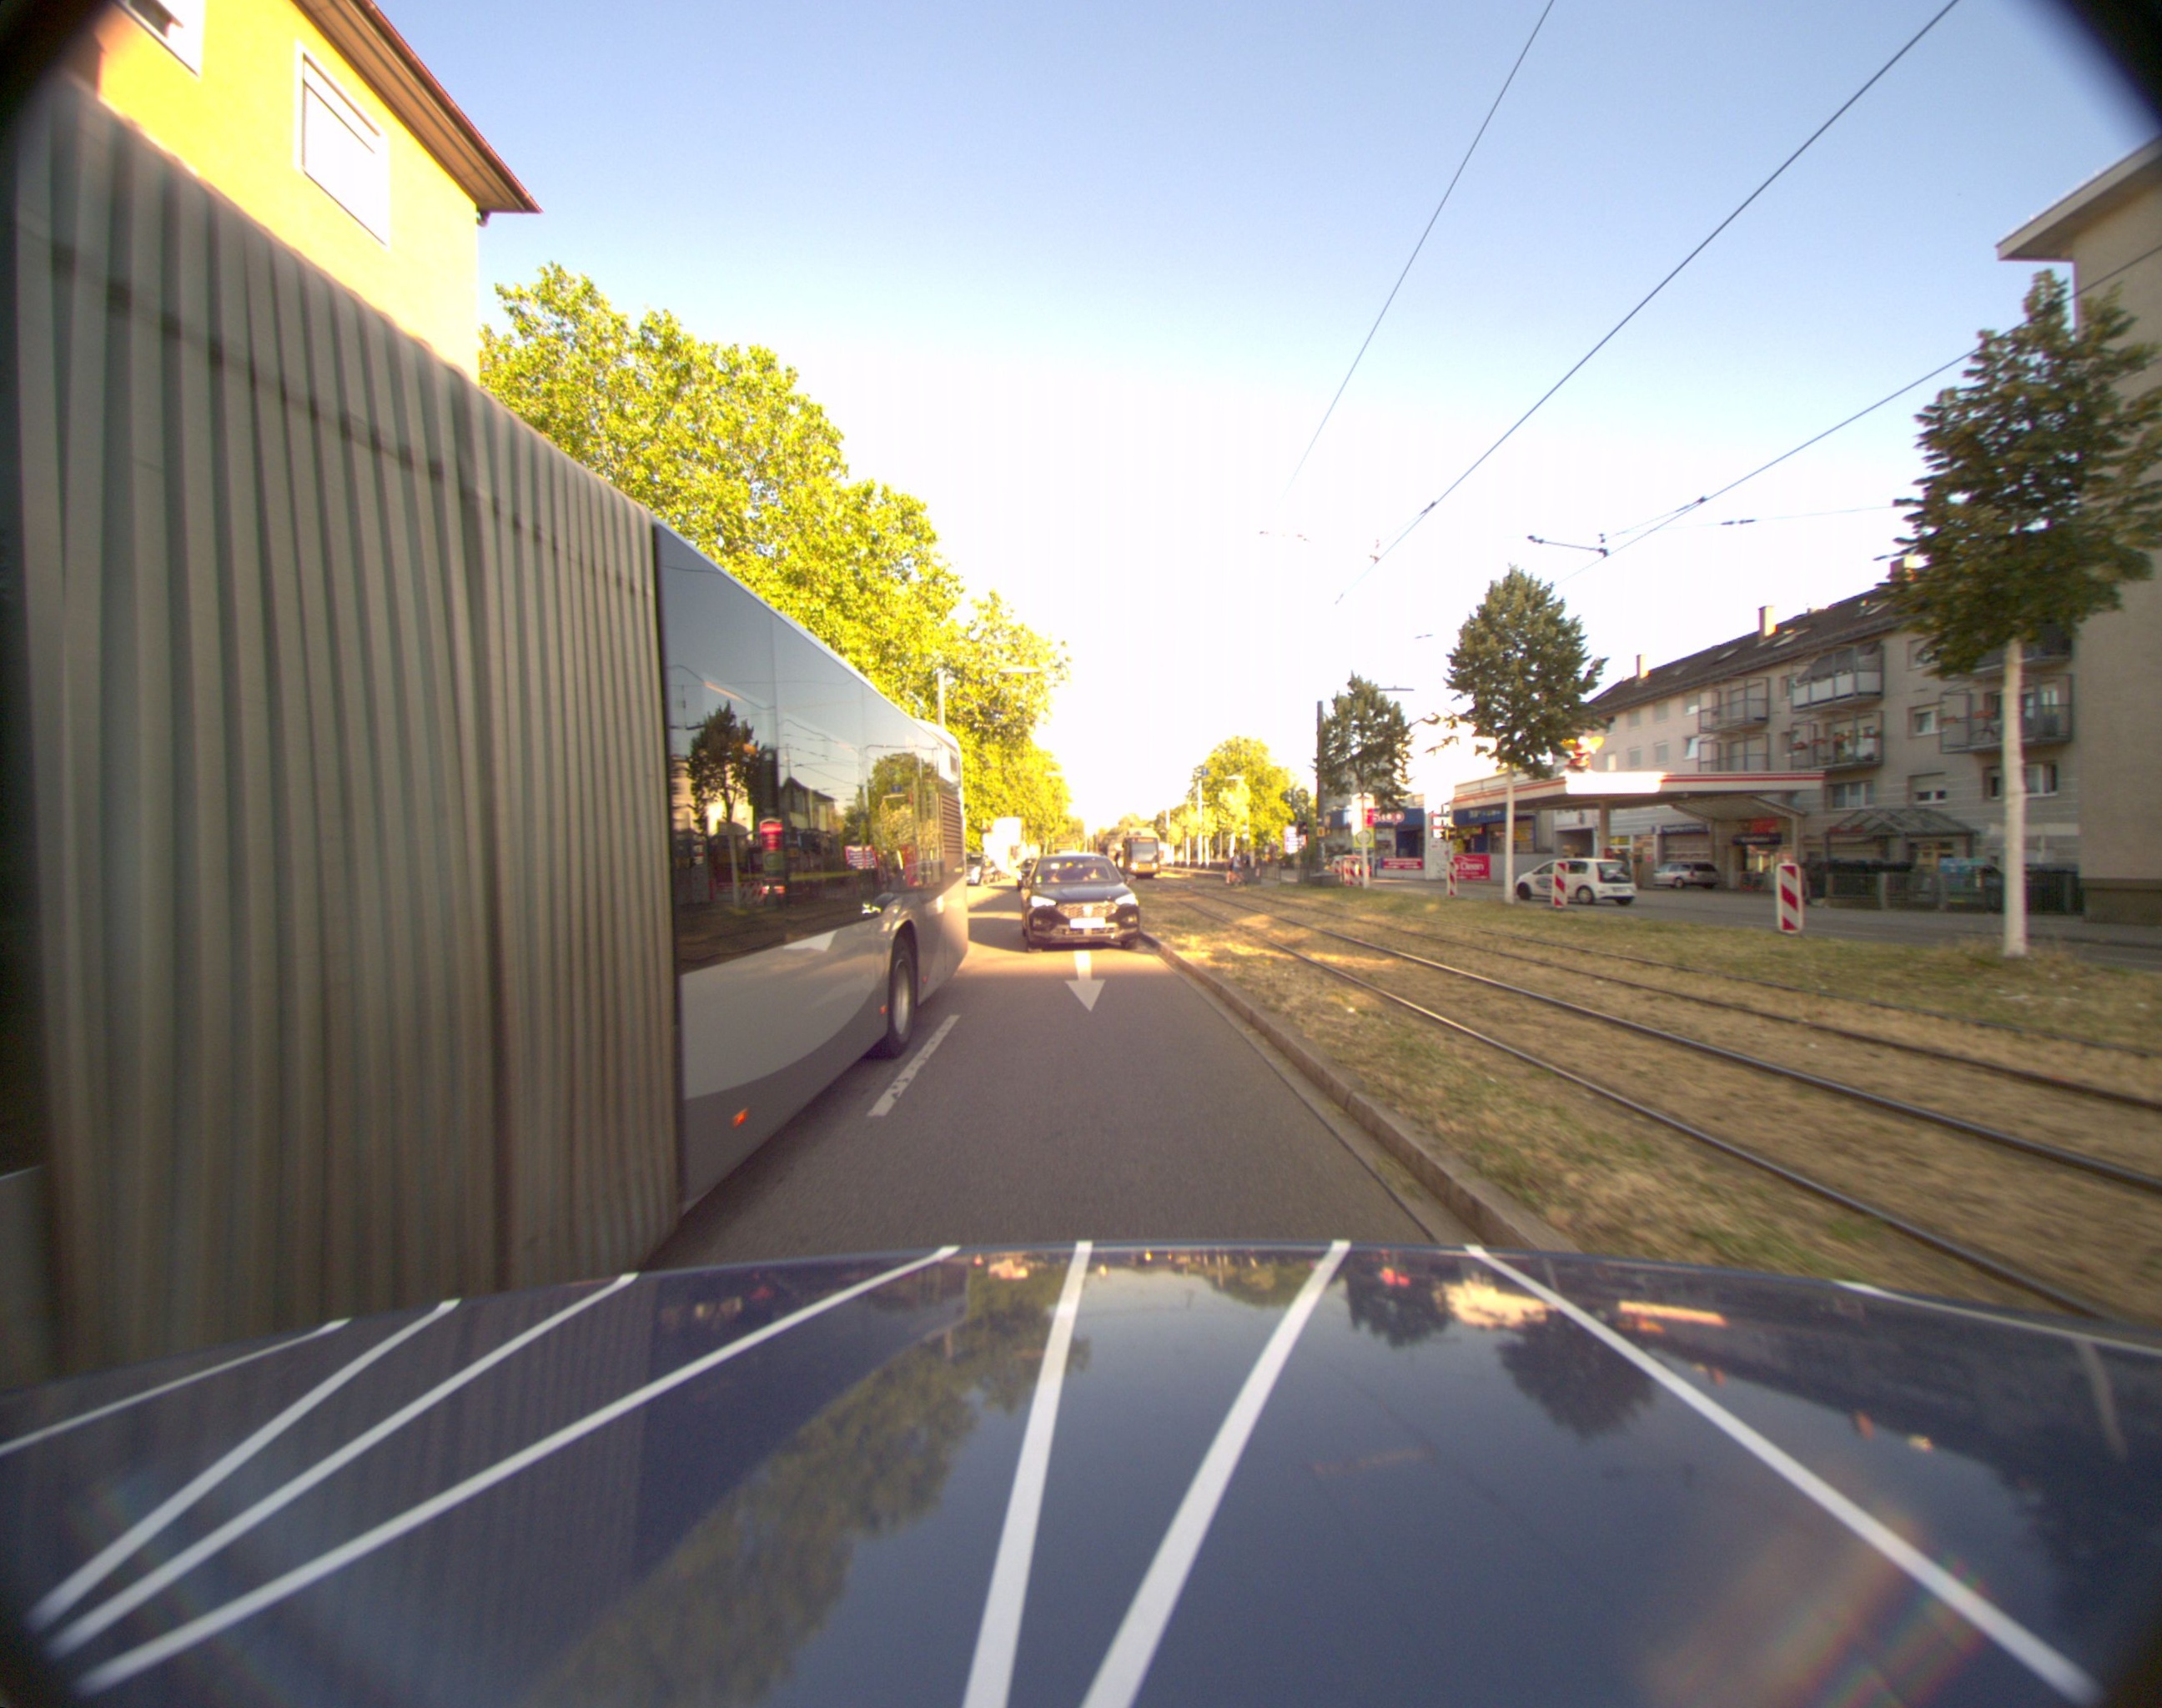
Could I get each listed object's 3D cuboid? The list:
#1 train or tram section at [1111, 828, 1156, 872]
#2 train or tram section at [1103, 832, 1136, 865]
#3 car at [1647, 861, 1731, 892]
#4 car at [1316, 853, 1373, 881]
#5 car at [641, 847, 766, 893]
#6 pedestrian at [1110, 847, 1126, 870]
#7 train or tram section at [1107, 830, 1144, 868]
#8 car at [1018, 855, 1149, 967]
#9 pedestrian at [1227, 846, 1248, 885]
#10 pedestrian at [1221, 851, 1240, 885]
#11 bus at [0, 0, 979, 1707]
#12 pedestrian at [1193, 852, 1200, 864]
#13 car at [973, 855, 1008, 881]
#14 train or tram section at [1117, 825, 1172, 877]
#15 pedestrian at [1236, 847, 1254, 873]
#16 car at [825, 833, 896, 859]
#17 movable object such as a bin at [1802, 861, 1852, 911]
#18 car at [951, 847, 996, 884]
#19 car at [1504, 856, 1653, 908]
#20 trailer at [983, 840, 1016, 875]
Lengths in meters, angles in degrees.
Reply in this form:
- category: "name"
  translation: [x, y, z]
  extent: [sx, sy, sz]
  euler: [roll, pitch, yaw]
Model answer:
- category: "train or tram section"
  translation: [4.449, -0.376, 66.369]
  extent: [3.043, 3.497, 10.094]
  euler: [1, 1, -1]
- category: "train or tram section"
  translation: [4.255, -0.622, 86.582]
  extent: [3.043, 3.497, 10.094]
  euler: [1, 1, -1]
- category: "car"
  translation: [33.753, 1.215, 42.338]
  extent: [1.816, 1.514, 3.829]
  euler: [-2, 1, 5]
- category: "car"
  translation: [15.999, 0.745, 46.418]
  extent: [1.816, 1.551, 4.934]
  euler: [0, 1, 1]
- category: "car"
  translation: [-15.154, 0.619, 30.633]
  extent: [4.032, 1.591, 1.856]
  euler: [-3, 0, -1]
- category: "pedestrian"
  translation: [2.559, 0.290, 52.699]
  extent: [0.918, 1.541, 0.788]
  euler: [-1, 1, -8]
- category: "train or tram section"
  translation: [4.355, -0.492, 76.476]
  extent: [3.043, 3.497, 10.094]
  euler: [1, 1, -1]
- category: "car"
  translation: [-0.122, 0.860, 13.521]
  extent: [1.911, 1.606, 4.083]
  euler: [-2, 0, -5]
- category: "pedestrian"
  translation: [7.775, 0.580, 37.749]
  extent: [0.860, 1.921, 0.755]
  euler: [0, 1, -2]
- category: "pedestrian"
  translation: [7.608, 0.693, 38.671]
  extent: [0.755, 1.737, 0.860]
  euler: [0, 1, -3]
- category: "bus"
  translation: [-2.719, 0.230, 4.893]
  extent: [2.745, 3.038, 8.853]
  euler: [-2, 0, 1]
- category: "pedestrian"
  translation: [17.574, 0.632, 115.697]
  extent: [0.755, 1.871, 1.000]
  euler: [-3, 1, -1]
- category: "car"
  translation: [-6.033, 0.891, 50.850]
  extent: [1.800, 1.621, 4.000]
  euler: [0, 0, 1]
- category: "train or tram section"
  translation: [4.555, -0.255, 56.270]
  extent: [3.043, 3.497, 10.094]
  euler: [1, 1, -1]
- category: "pedestrian"
  translation: [10.717, 0.396, 49.659]
  extent: [0.937, 1.644, 0.926]
  euler: [-3, 0, 0]
- category: "car"
  translation: [-14.551, -0.532, 50.312]
  extent: [4.122, 1.541, 1.803]
  euler: [-2, 0, 2]
- category: "movable object such as a bin"
  translation: [21.240, 0.899, 21.657]
  extent: [0.665, 1.392, 0.749]
  euler: [0, 0, -1]
- category: "car"
  translation: [-6.187, 0.642, 44.274]
  extent: [1.889, 2.066, 4.563]
  euler: [0, 0, 1]
- category: "car"
  translation: [16.100, 0.862, 24.838]
  extent: [1.819, 1.503, 3.824]
  euler: [1, 1, -14]
- category: "trailer"
  translation: [-6.117, 0.231, 57.554]
  extent: [1.890, 2.573, 4.651]
  euler: [0, 0, 1]
